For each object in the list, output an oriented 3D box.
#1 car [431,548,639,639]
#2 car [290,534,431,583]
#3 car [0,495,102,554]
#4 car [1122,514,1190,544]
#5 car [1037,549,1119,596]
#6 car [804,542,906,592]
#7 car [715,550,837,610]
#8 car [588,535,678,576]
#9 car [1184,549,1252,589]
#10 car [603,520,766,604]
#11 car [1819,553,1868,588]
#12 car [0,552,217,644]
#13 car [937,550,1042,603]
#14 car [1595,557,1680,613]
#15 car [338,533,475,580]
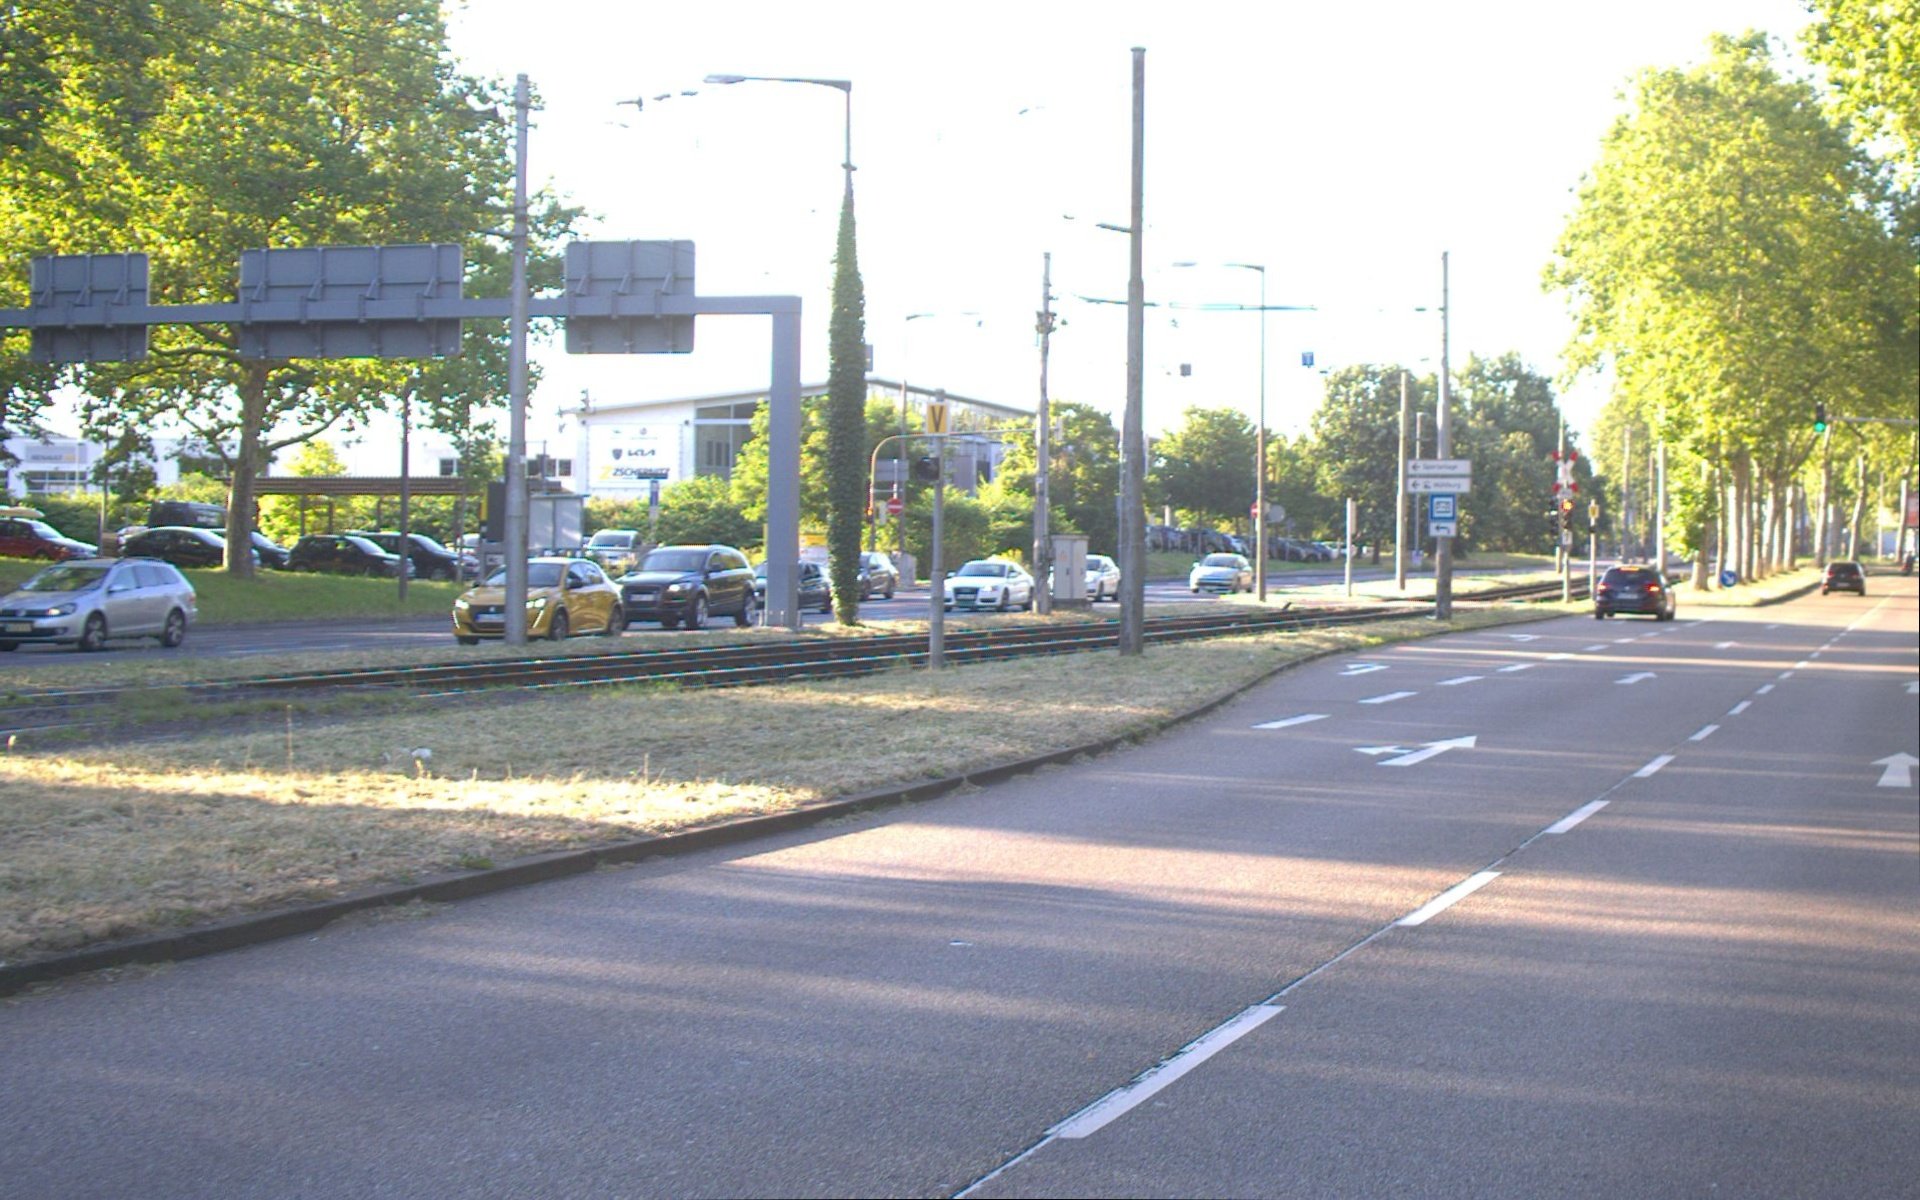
[{"bbox_3d":[-6.897,-0.105,56.149,1.840,1.411,4.015,1,0,18],"label":"car"},{"bbox_3d":[-19.124,-1.324,109.648,4.060,1.382,1.782,2,1,23],"label":"car"},{"bbox_3d":[-30.487,-2.477,112.941,3.991,1.853,1.998,2,1,19],"label":"car"},{"bbox_3d":[9.786,-3.553,171.297,3.144,1.387,1.455,2,1,13],"label":"car"},{"bbox_3d":[3.759,-0.885,108.990,1.654,1.411,4.256,2,1,15],"label":"car"},{"bbox_3d":[-3.245,-1.020,107.298,1.840,1.476,4.596,2,1,15],"label":"car"},{"bbox_3d":[-4.808,-0.532,90.435,1.840,1.476,4.433,2,1,15],"label":"car"},{"bbox_3d":[-12.196,-1.638,128.369,1.843,1.437,3.996,2,1,19],"label":"car"},{"bbox_3d":[9.676,-1.169,128.687,1.654,1.411,4.255,2,1,16],"label":"car"},{"bbox_3d":[-5.684,-0.788,71.533,1.840,1.649,4.432,2,1,17],"label":"car"},{"bbox_3d":[37.606,-1.252,146.255,1.794,1.398,3.686,2,1,17],"label":"car"},{"bbox_3d":[-14.090,-0.040,56.536,1.688,1.411,4.434,2,1,16],"label":"car"},{"bbox_3d":[0.844,-0.650,95.618,1.839,1.411,4.597,1,1,15],"label":"car"},{"bbox_3d":[17.696,-0.377,89.651,1.794,1.398,3.686,-1,0,17],"label":"car"},{"bbox_3d":[-18.166,-1.426,112.831,4.060,1.382,1.782,2,1,23],"label":"car"}]
